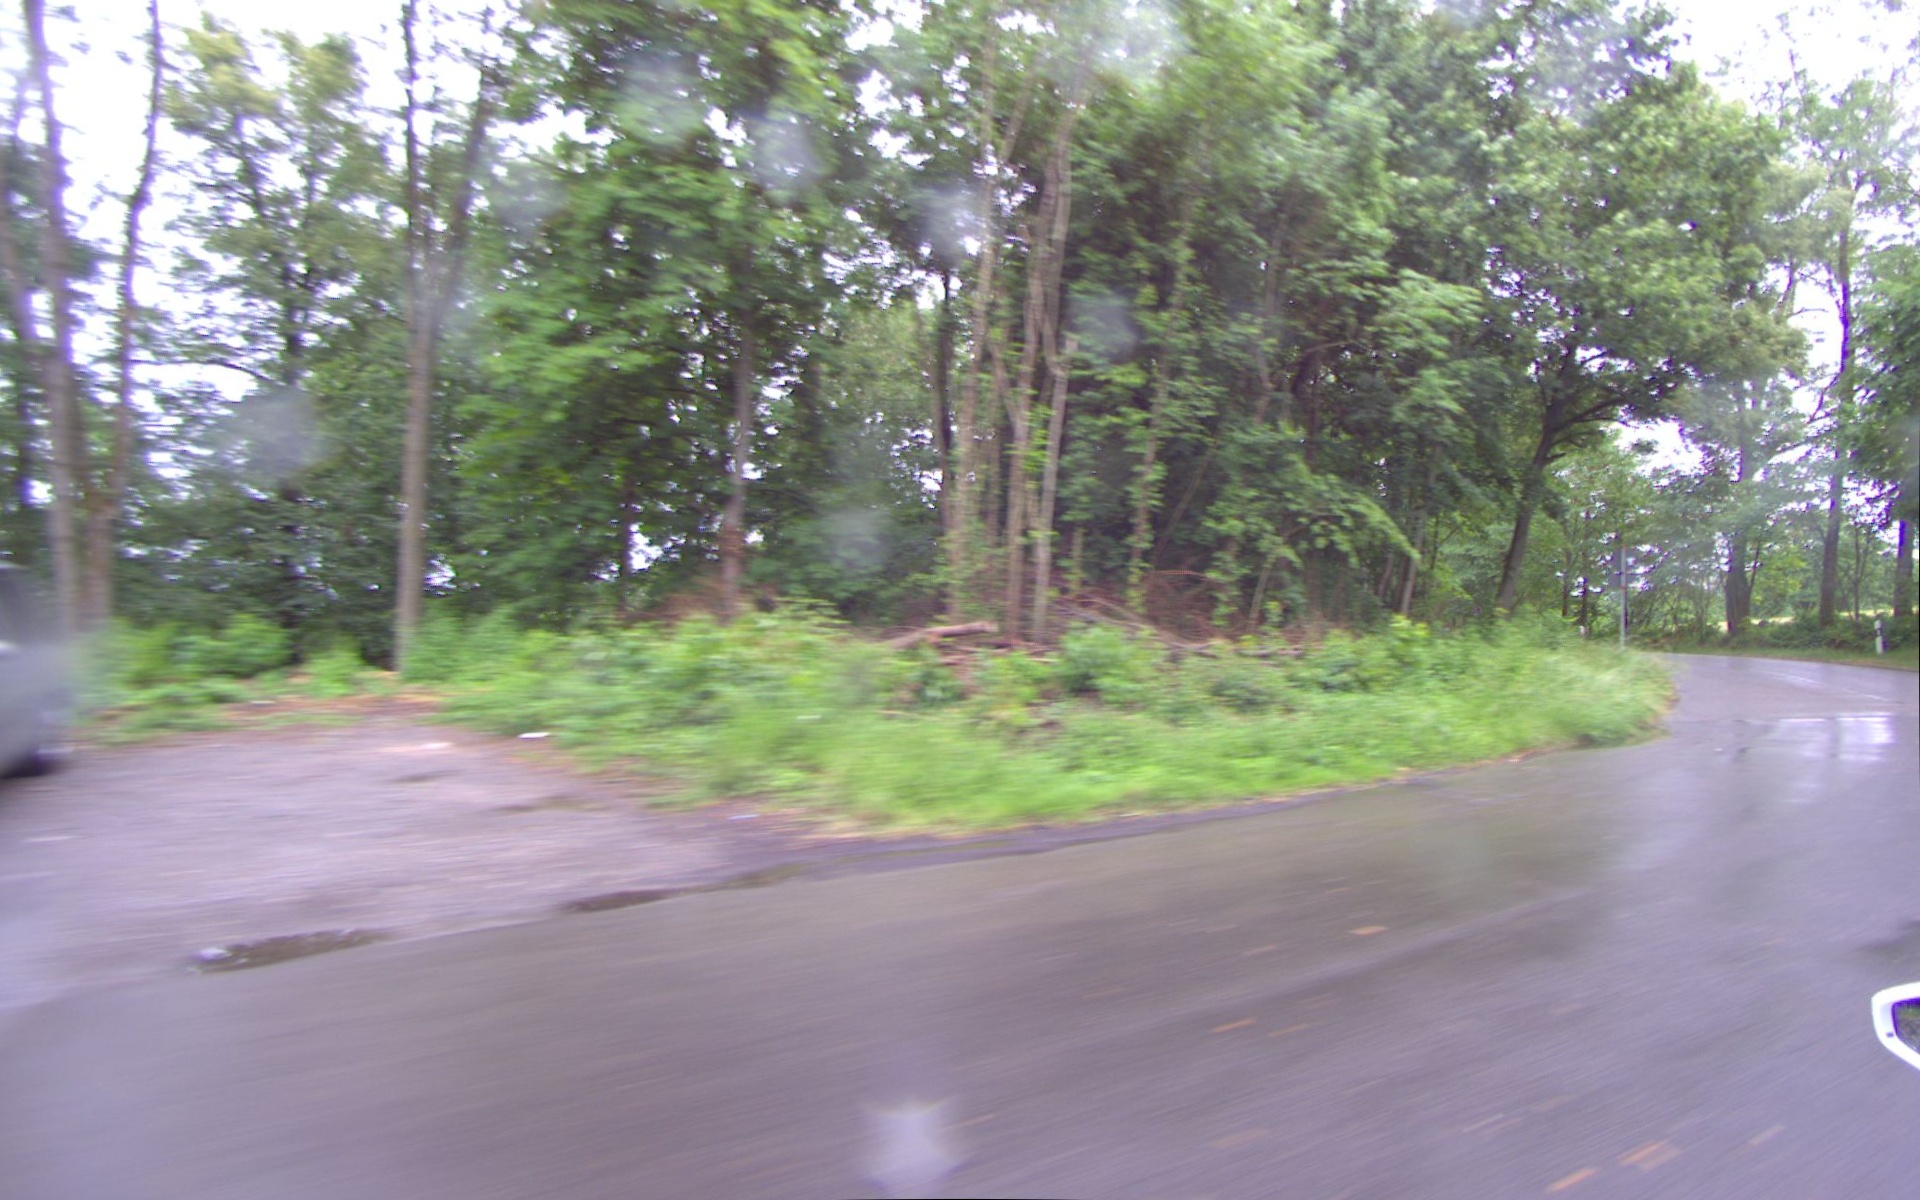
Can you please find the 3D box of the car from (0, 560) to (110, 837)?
[{"bbox_3d":[-6.626,0.546,5.934,1.753,1.575,4.115,0,2,-31],"label":"car"}]
